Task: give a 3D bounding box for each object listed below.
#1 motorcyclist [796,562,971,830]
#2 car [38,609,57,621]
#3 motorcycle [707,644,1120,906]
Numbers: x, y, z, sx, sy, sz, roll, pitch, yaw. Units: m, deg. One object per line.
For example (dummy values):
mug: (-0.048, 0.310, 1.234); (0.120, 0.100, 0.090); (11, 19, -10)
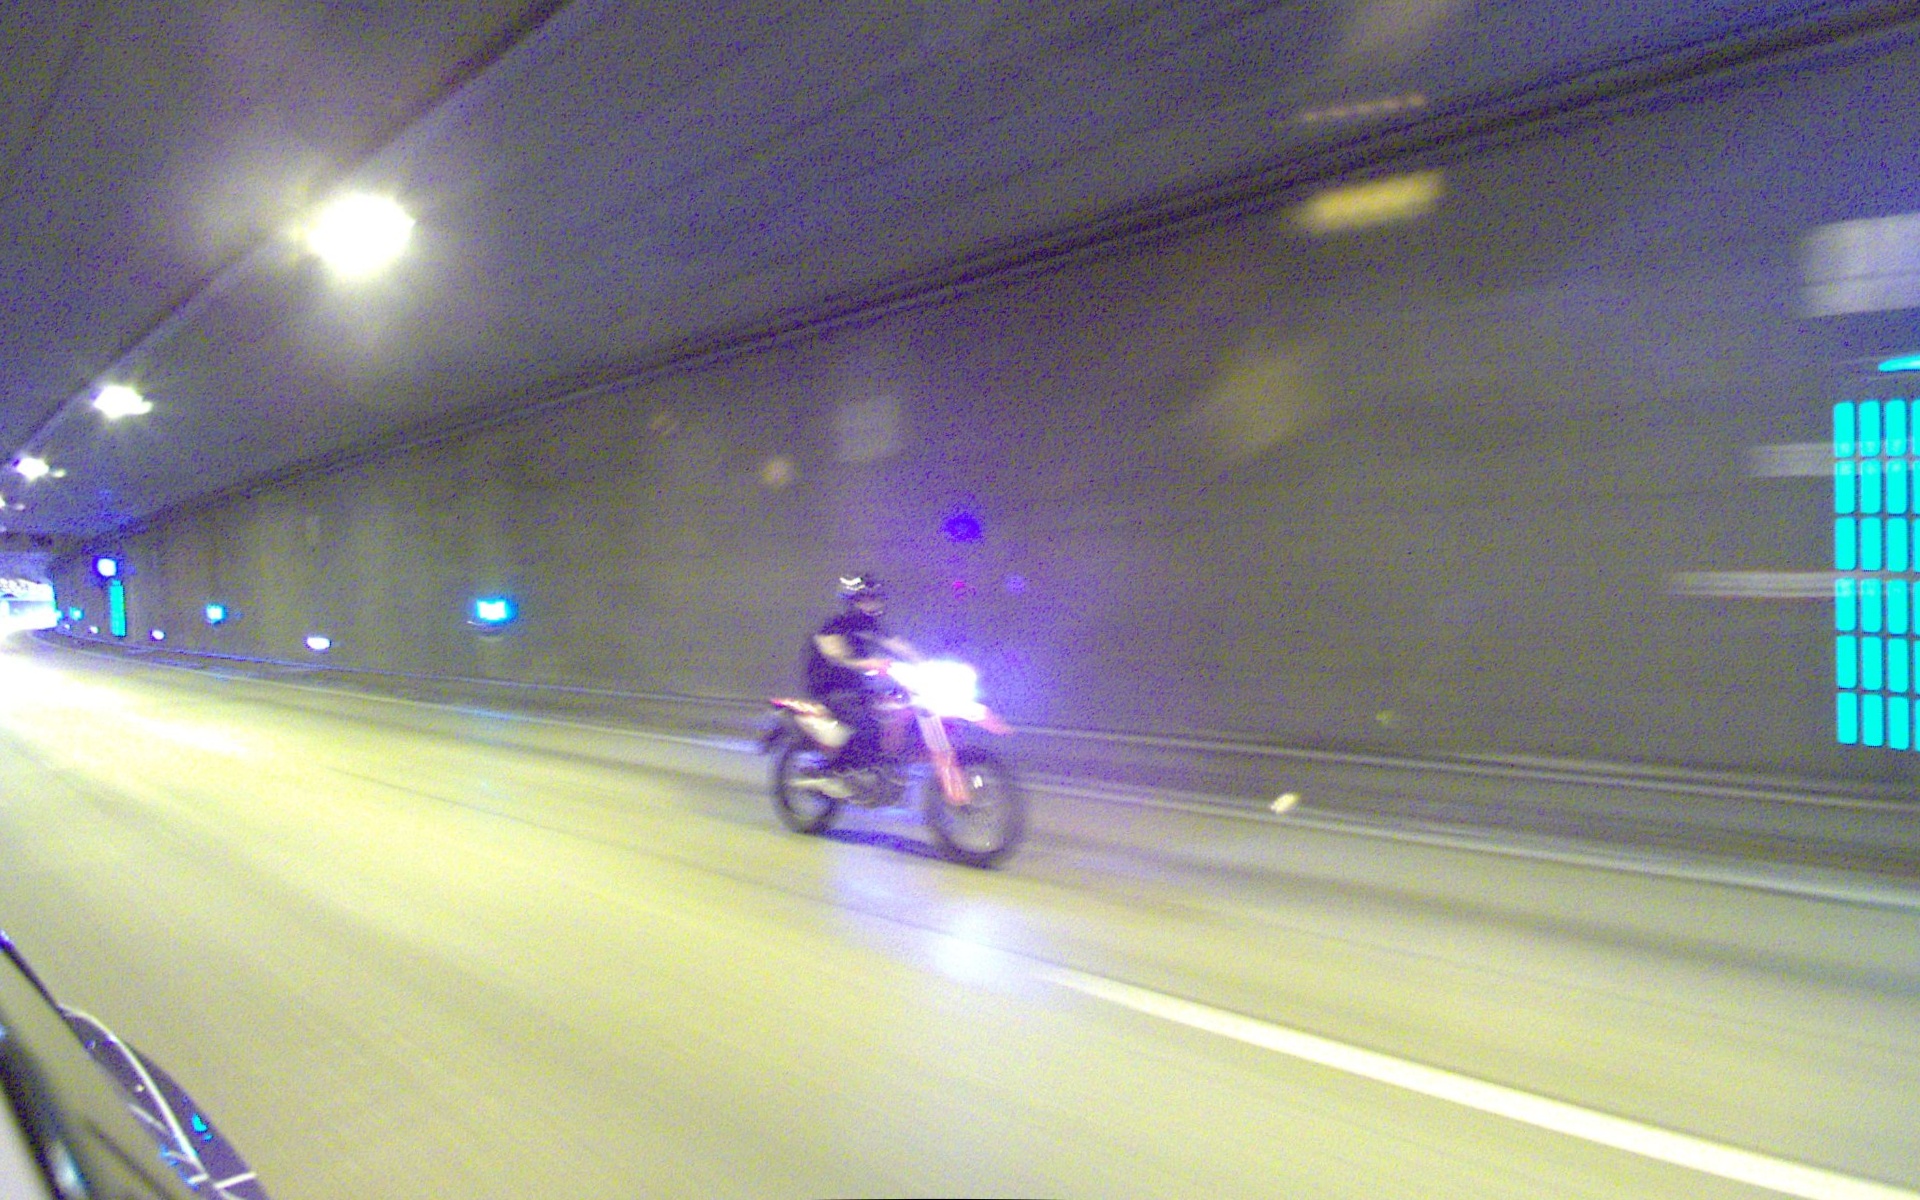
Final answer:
motorcyclist: (-0.475, 0.540, 6.203); (0.890, 1.500, 0.620); (-1, -1, 41)
car: (-150.702, 2.473, 167.196); (1.968, 1.812, 4.008); (-1, 1, -38)
motorcycle: (-0.361, 0.889, 6.040); (2.426, 1.166, 1.042); (-1, -1, 41)
